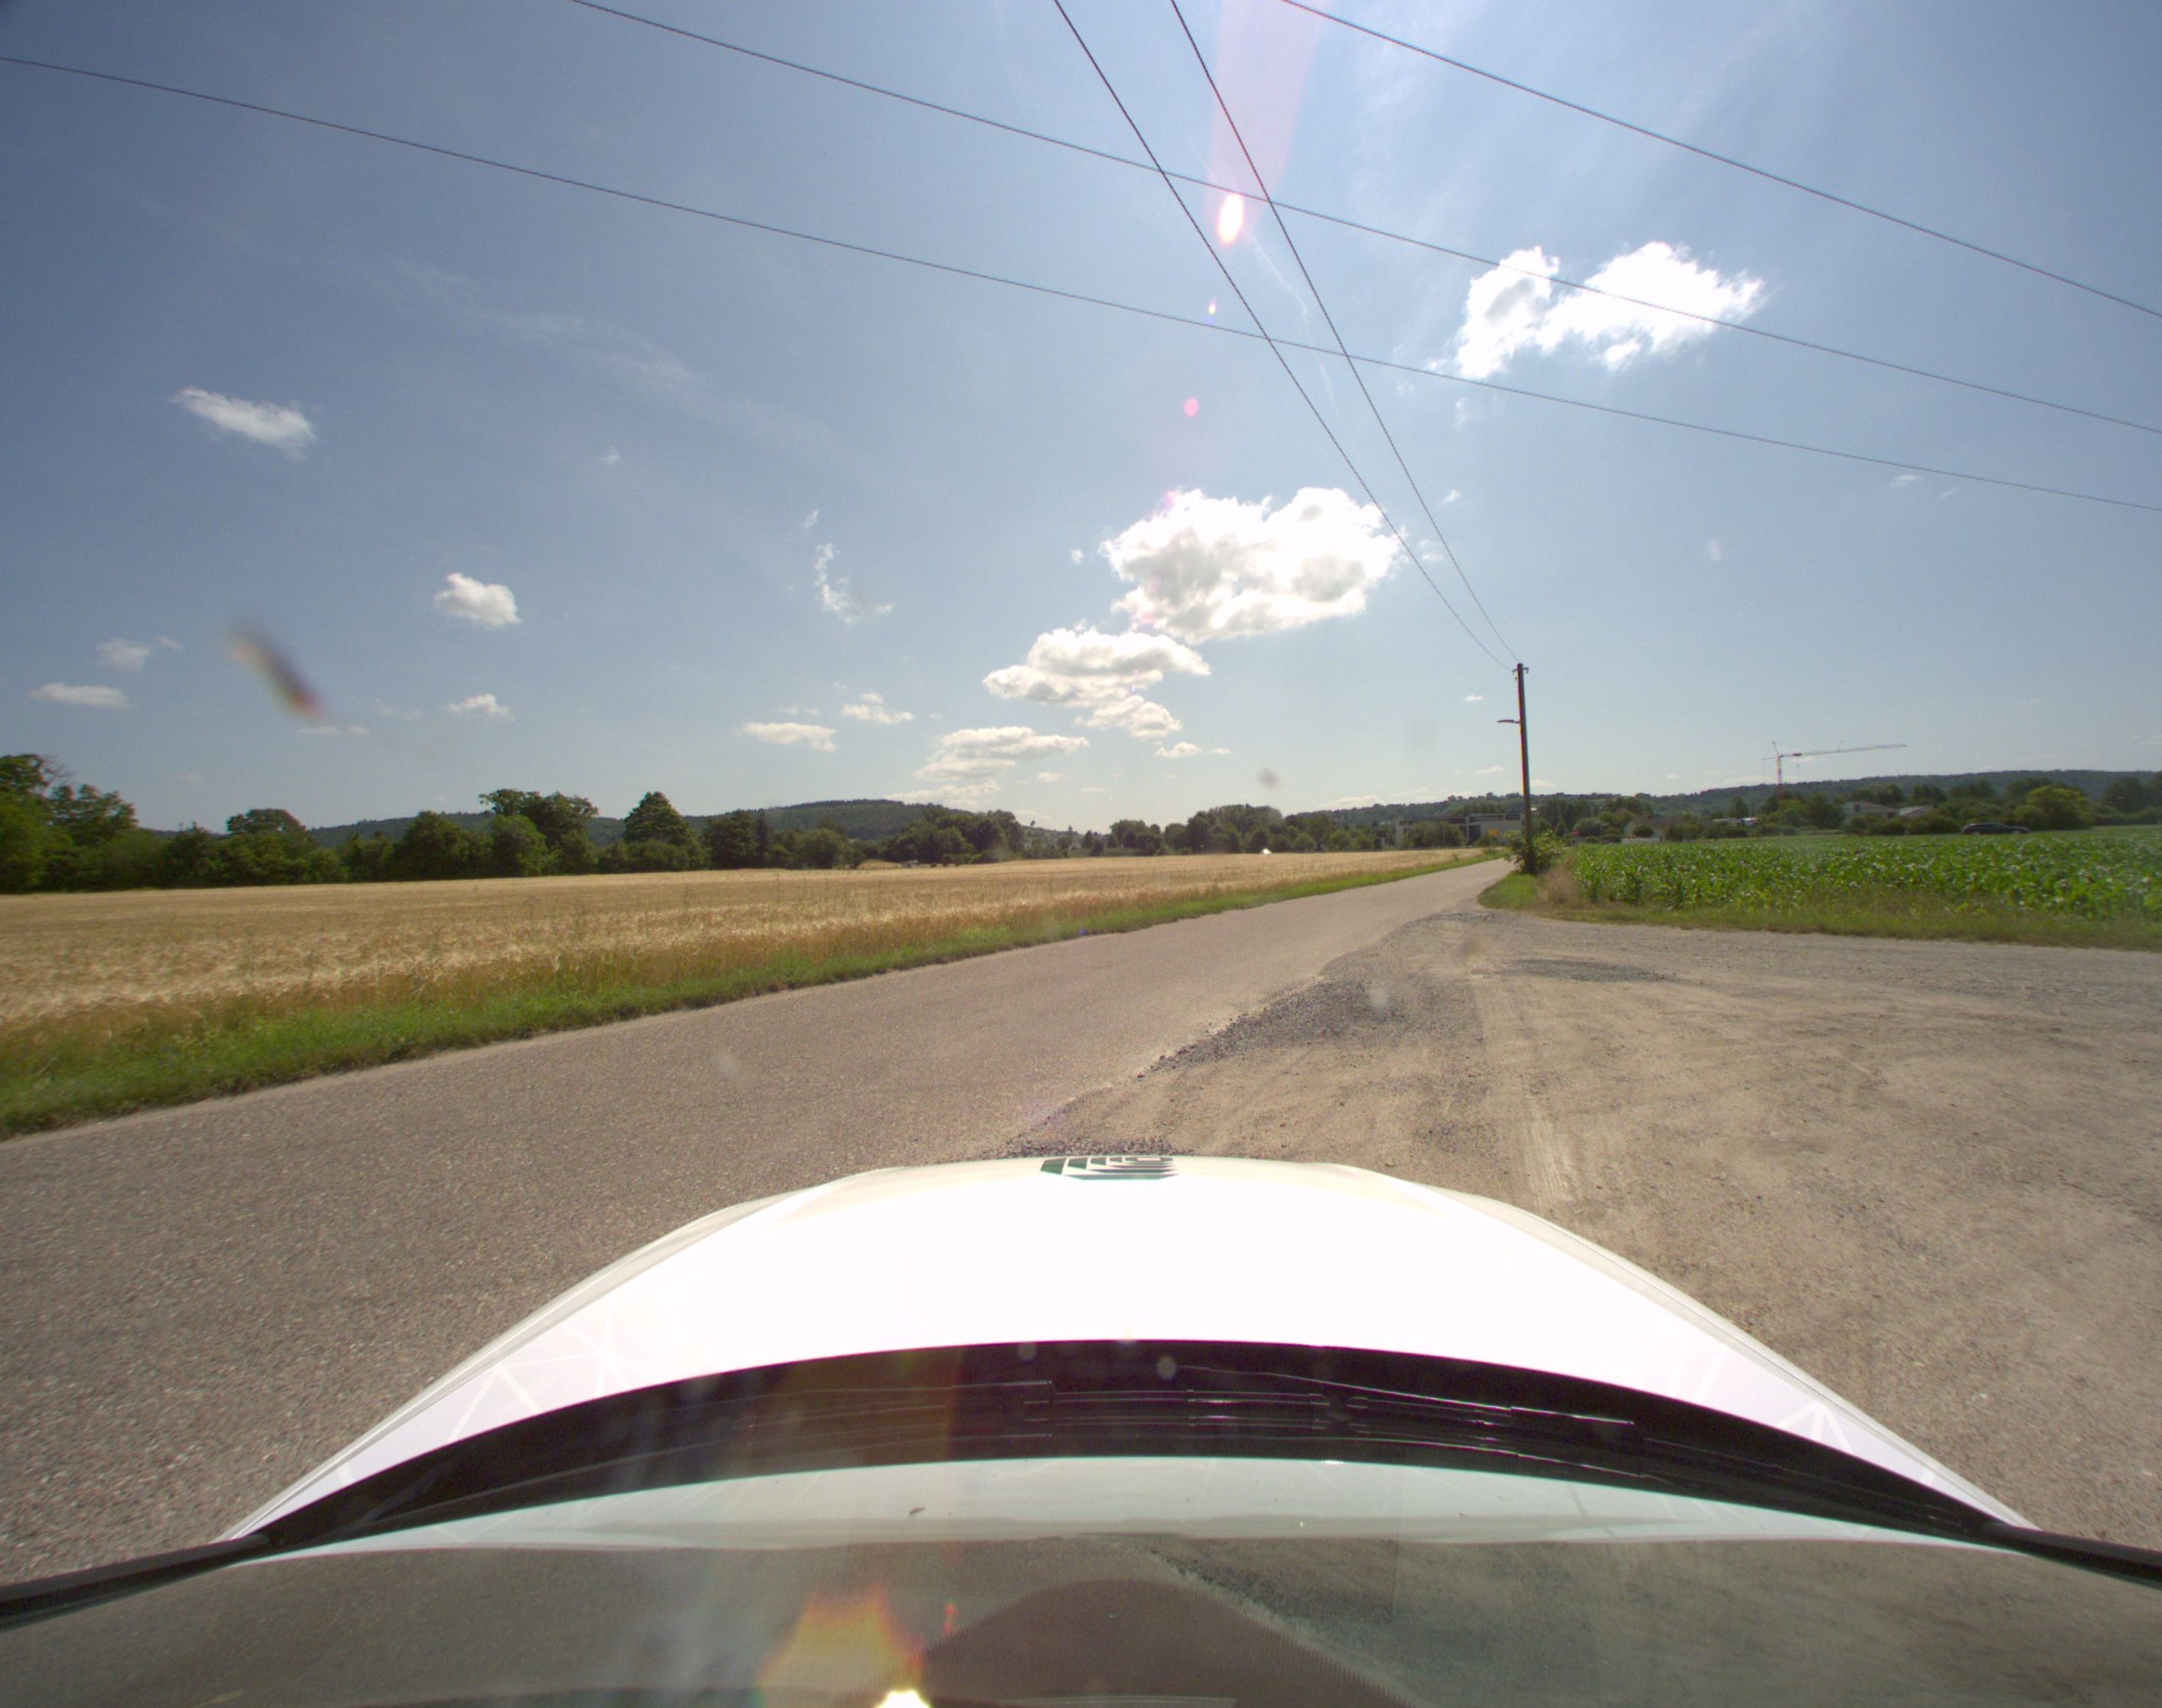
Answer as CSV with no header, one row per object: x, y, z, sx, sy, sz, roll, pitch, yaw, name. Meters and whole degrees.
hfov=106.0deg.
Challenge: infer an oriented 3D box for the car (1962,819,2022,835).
98.950,-2.944,88.492,1.827,1.502,4.239,-2,0,-44,car
